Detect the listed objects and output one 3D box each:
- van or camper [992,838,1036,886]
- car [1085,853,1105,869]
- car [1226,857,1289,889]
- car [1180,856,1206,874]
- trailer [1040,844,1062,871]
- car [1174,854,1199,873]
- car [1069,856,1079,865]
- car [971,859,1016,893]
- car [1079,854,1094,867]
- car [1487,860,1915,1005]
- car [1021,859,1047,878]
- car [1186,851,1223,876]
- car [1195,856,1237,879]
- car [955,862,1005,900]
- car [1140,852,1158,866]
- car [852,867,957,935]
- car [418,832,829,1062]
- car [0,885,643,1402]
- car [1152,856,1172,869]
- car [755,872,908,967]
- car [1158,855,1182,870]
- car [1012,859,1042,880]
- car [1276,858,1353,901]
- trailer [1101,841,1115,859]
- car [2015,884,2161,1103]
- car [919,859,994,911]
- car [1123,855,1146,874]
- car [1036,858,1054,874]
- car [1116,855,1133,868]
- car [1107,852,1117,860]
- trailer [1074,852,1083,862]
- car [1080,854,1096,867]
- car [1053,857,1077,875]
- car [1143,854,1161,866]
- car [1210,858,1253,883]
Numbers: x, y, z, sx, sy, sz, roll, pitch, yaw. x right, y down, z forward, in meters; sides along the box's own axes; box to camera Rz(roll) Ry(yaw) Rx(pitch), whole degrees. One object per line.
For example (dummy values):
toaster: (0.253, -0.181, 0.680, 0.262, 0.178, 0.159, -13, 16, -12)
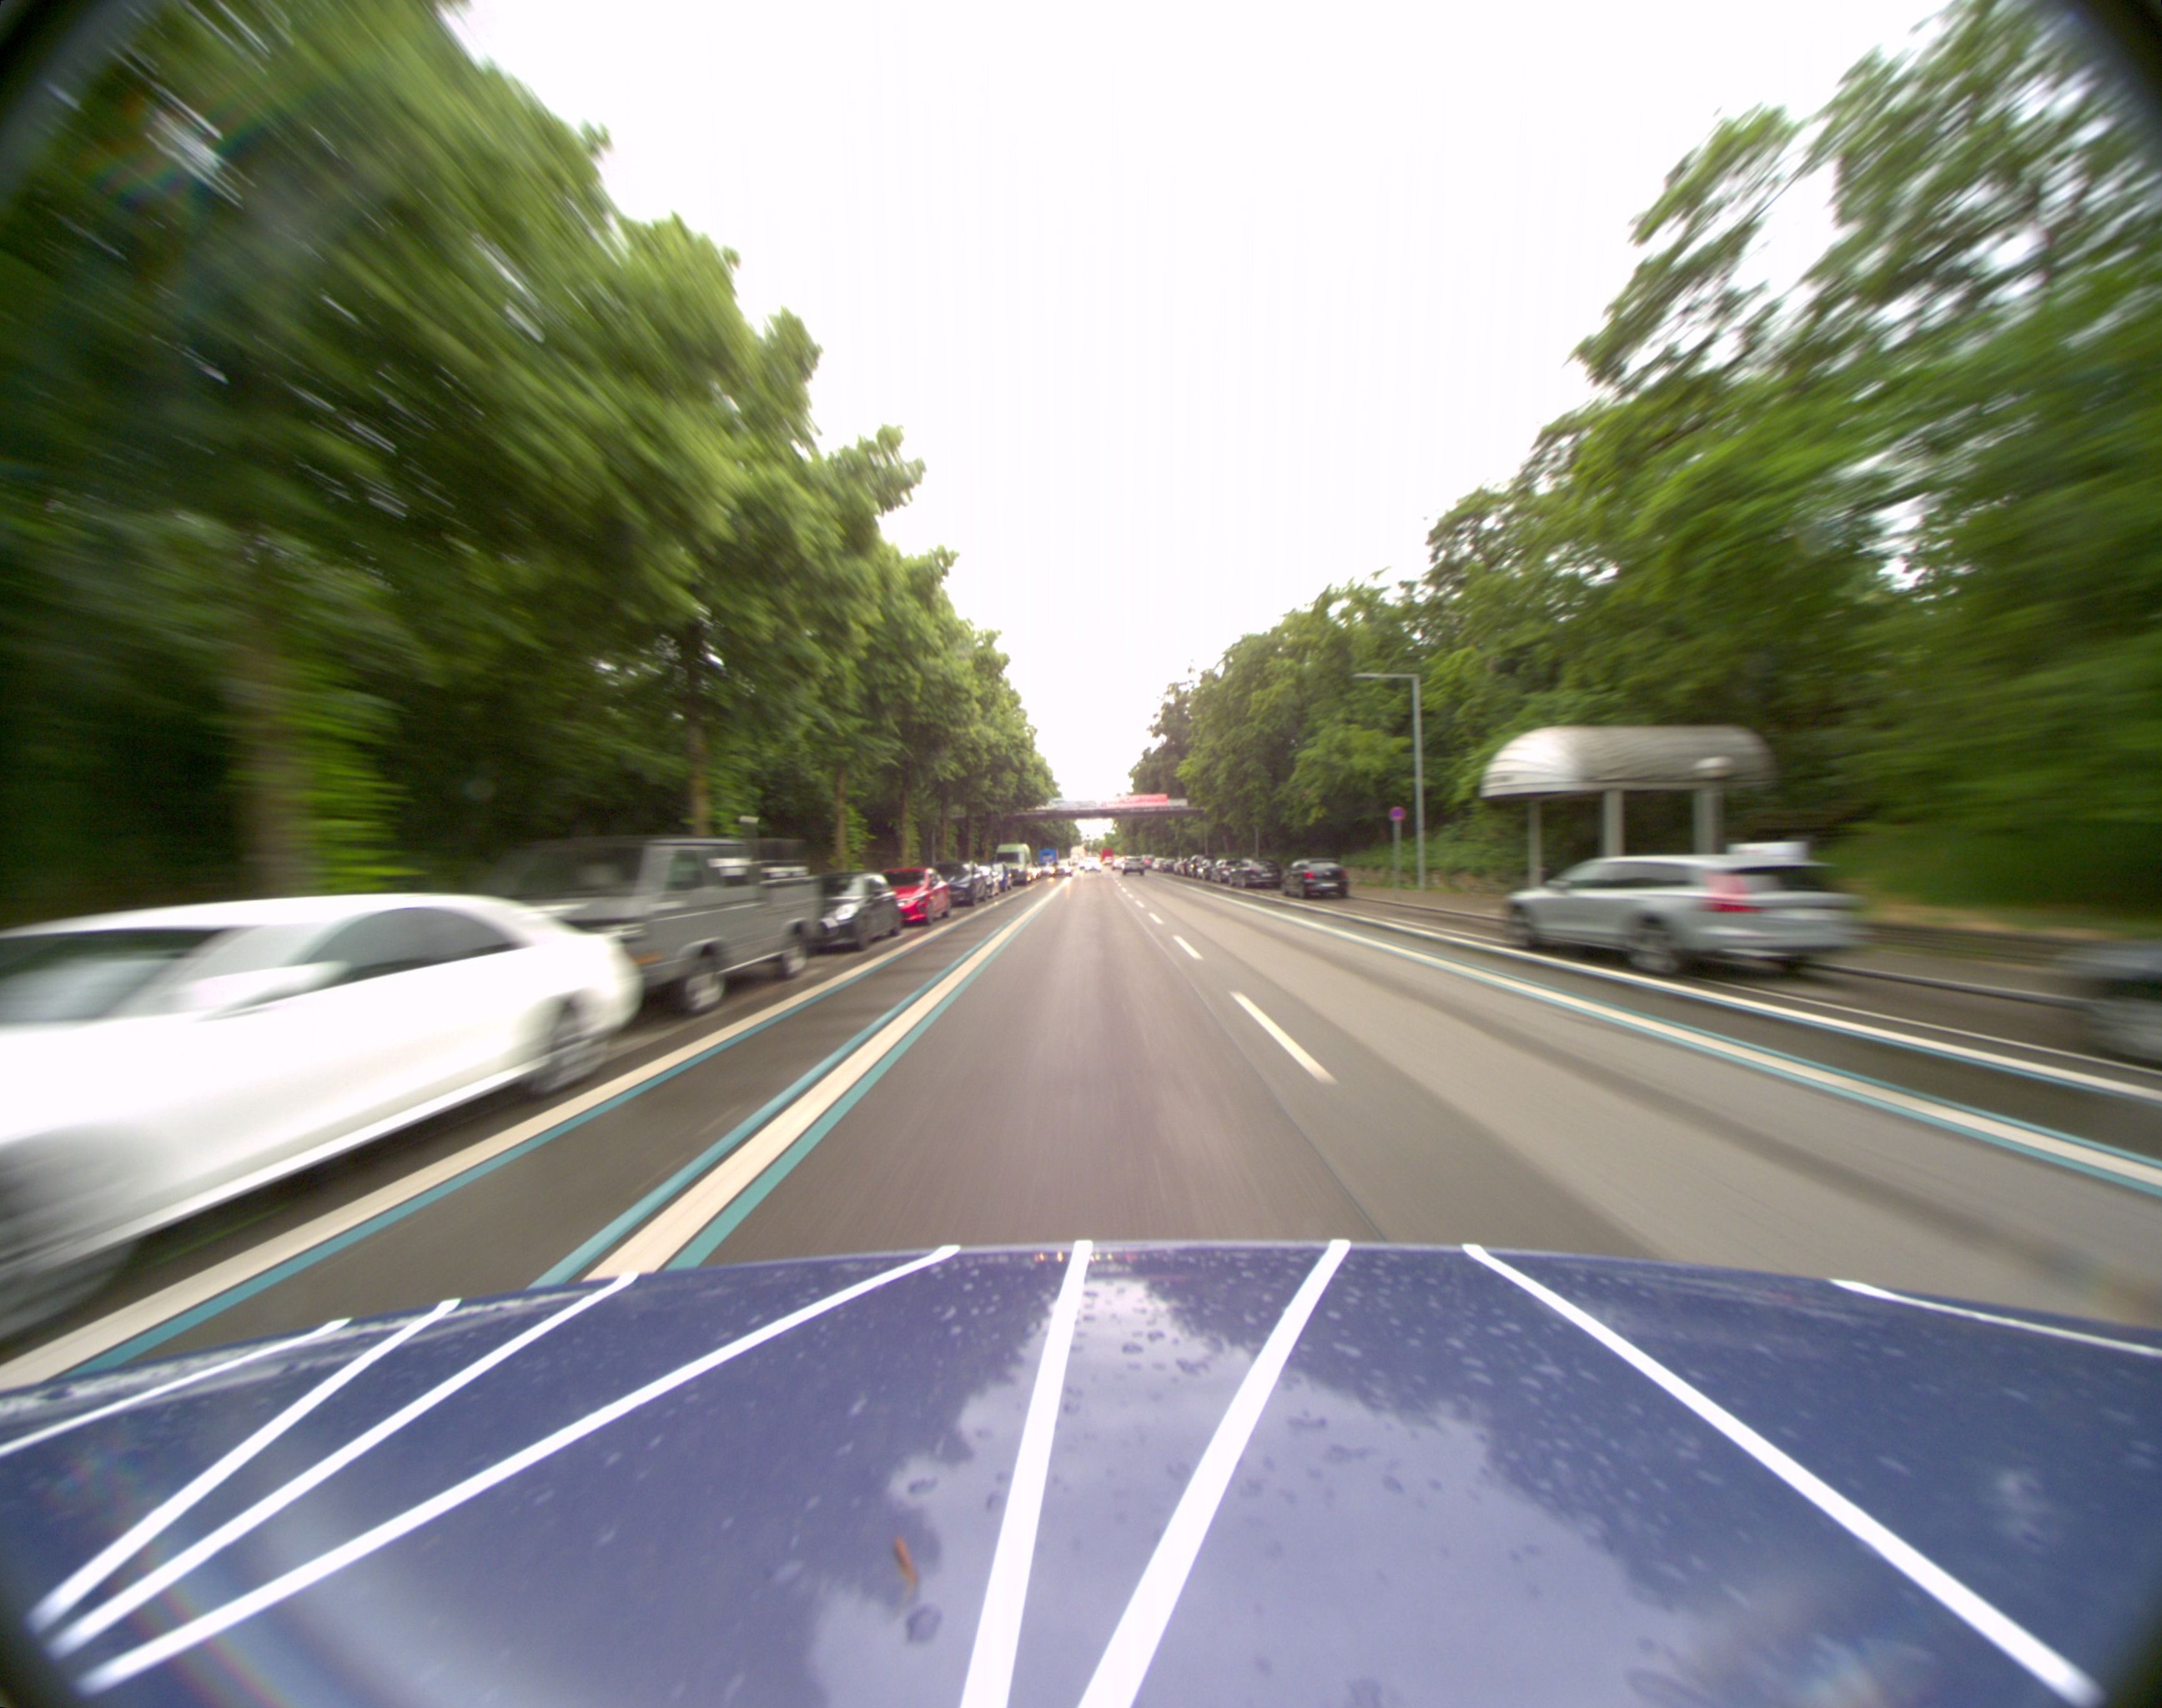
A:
van or camper: (-4.139, 0.489, 48.001, 2.047, 2.713, 6.900, -3, 0, 0)
car: (1.514, 0.779, 82.395, 1.998, 1.588, 4.000, -2, 0, 1)
car: (8.702, 0.911, 37.942, 1.961, 1.454, 4.756, -1, 0, -1)
car: (9.242, 0.902, 62.961, 1.613, 1.430, 3.844, -1, -1, 1)
trailer: (-3.116, 0.343, 79.622, 1.957, 2.742, 4.007, -2, 0, 1)
car: (9.331, 0.843, 67.434, 1.692, 1.537, 4.233, -1, -1, 0)
car: (-1.226, 1.156, 135.347, 1.702, 1.445, 4.097, -2, 0, 0)
car: (-4.356, 1.077, 38.436, 1.690, 1.505, 3.835, -3, 0, 1)
car: (0.773, 0.829, 102.815, 1.850, 1.718, 3.730, -2, 0, 1)
car: (7.963, 0.870, 10.559, 2.082, 1.473, 4.672, -2, 0, -1)
car: (-3.749, 1.139, 60.987, 1.690, 1.408, 4.197, -2, 0, 2)
car: (9.323, 0.723, 57.594, 1.995, 1.731, 4.838, -1, -1, 0)
car: (9.144, 0.907, 51.849, 1.988, 1.464, 4.898, -2, -1, 0)
car: (-4.289, 1.107, 32.810, 1.690, 1.447, 4.145, -3, 0, -2)
car: (10.164, 0.724, 114.248, 1.979, 1.993, 5.017, -2, 0, -3)
car: (-4.441, 1.119, 19.745, 1.690, 1.444, 4.165, -3, 0, 0)
car: (-4.875, 0.841, 9.139, 1.931, 2.010, 4.664, -2, 0, 2)
car: (-4.495, 1.073, 3.767, 1.794, 1.534, 4.889, -3, 0, -1)
car: (9.372, 0.967, 88.366, 1.794, 1.473, 3.982, -1, -1, -1)
car: (-4.582, 1.136, 14.541, 1.610, 1.444, 3.747, -3, 0, 0)
car: (9.065, 0.896, 77.942, 1.836, 1.468, 4.040, -1, -1, -2)
car: (-3.943, 1.090, 55.630, 1.690, 1.408, 4.100, -2, 0, 2)
car: (8.691, 0.918, 28.631, 1.675, 1.449, 3.993, -1, 0, 0)
trailer: (6.603, -0.983, 187.110, 2.694, 4.234, 12.768, 1, 0, 0)
car: (8.119, 0.935, 3.885, 1.700, 1.428, 4.055, -1, -1, 0)
car: (-4.356, 1.036, 27.244, 1.760, 1.580, 4.499, -3, 0, 1)
car: (4.694, 0.924, 66.845, 1.800, 1.642, 4.129, 0, 0, 2)
car: (-3.450, 1.119, 72.764, 1.588, 1.345, 3.862, -3, 0, -1)
car: (5.322, 0.869, 93.749, 1.926, 1.551, 4.621, 0, 0, 1)
car: (6.294, 0.450, 154.246, 1.838, 1.657, 4.180, -1, 0, 1)
trailer: (-0.680, 0.906, 202.424, 1.988, 2.550, 3.999, -2, 0, -2)
car: (0.951, 0.904, 103.233, 1.998, 1.629, 4.000, -1, 0, 2)
car: (-1.362, 1.006, 65.143, 1.822, 1.499, 4.139, -1, 0, 2)
car: (9.842, 0.885, 105.234, 2.015, 1.596, 4.780, -1, -1, 0)
car: (8.964, 0.958, 45.580, 1.788, 1.415, 4.296, -1, -1, 1)
